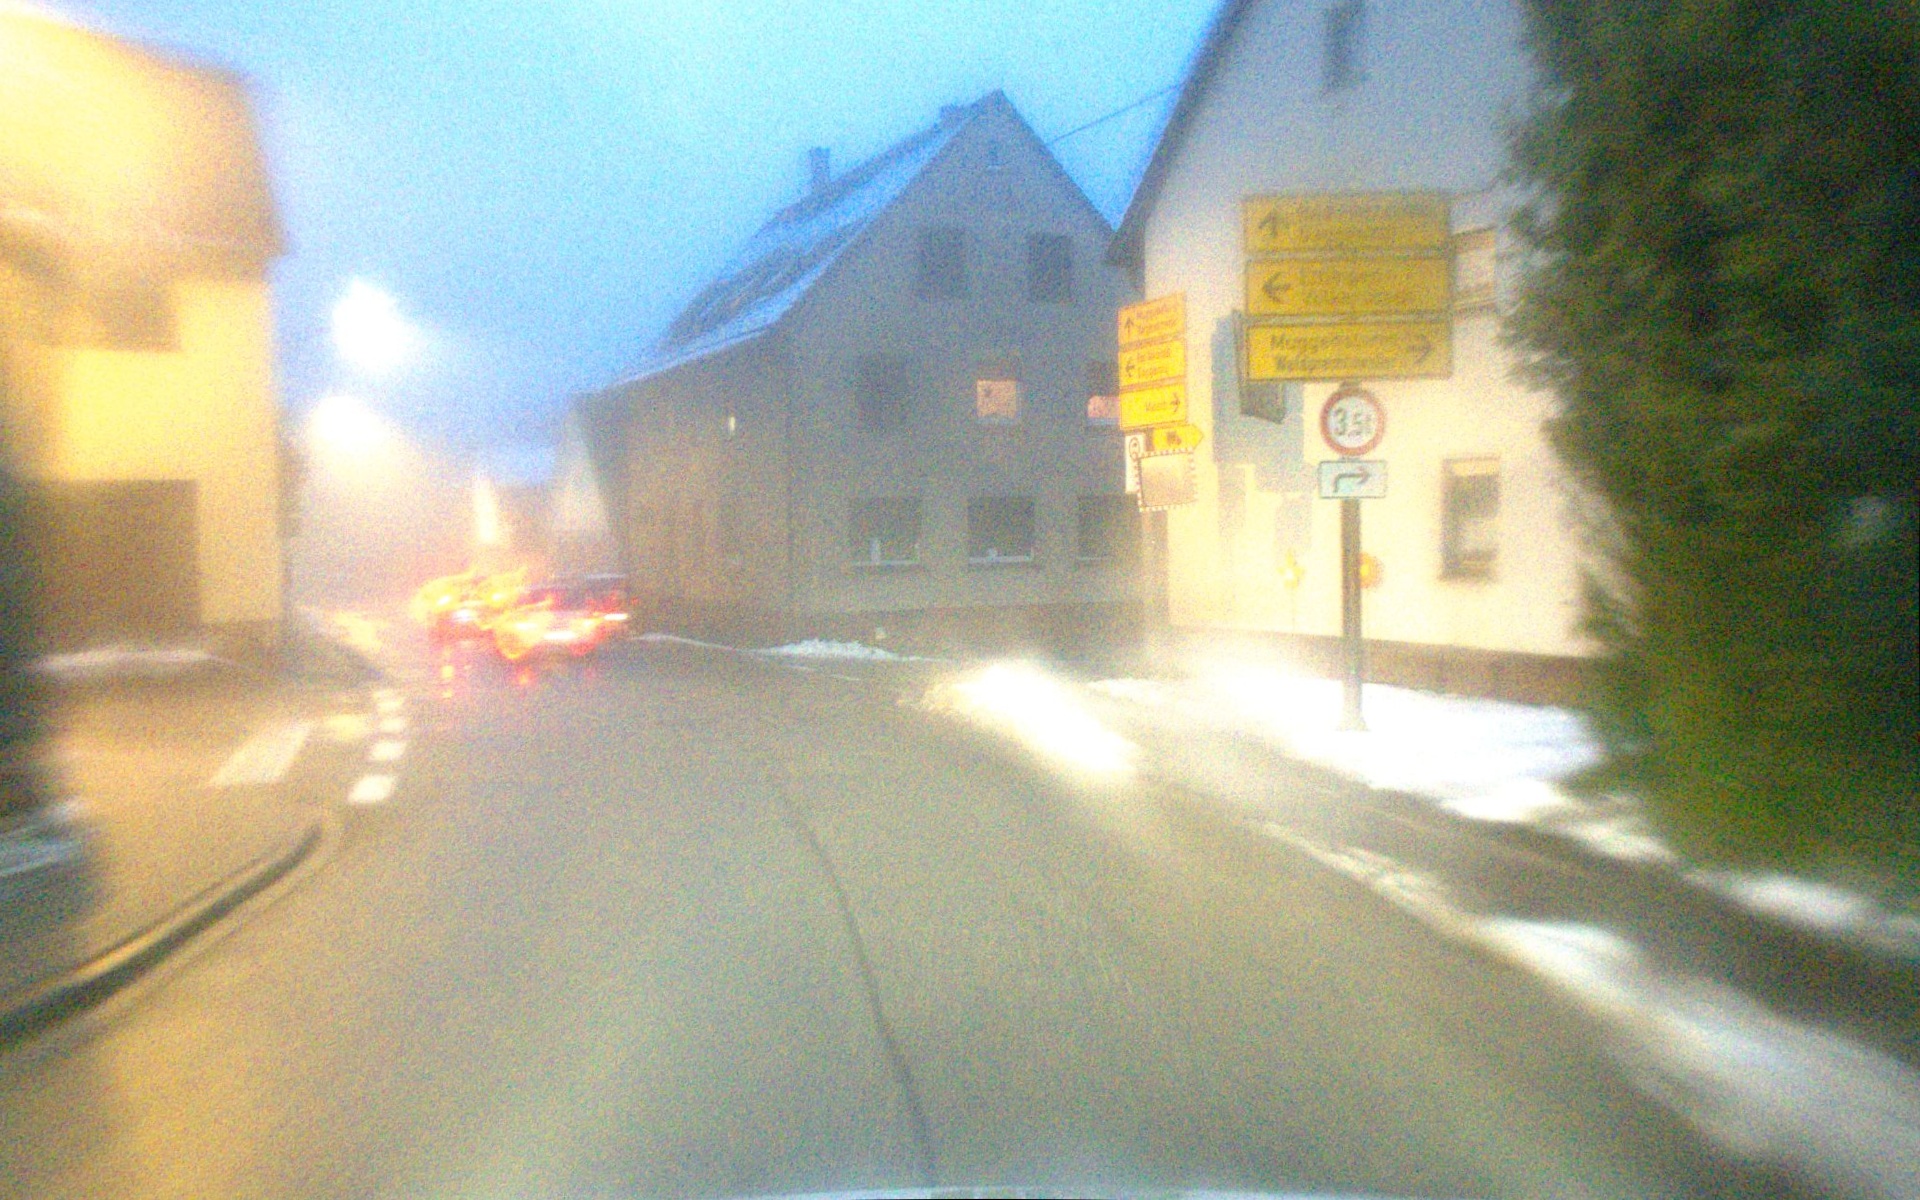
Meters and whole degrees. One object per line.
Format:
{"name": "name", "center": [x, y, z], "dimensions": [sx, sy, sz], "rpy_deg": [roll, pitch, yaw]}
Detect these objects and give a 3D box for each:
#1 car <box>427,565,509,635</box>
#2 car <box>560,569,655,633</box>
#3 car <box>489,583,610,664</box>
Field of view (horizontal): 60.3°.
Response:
{"name": "car", "center": [-12.964, 0.024, 43.499], "dimensions": [1.962, 1.758, 3.980], "rpy_deg": [1, -1, -18]}
{"name": "car", "center": [-8.886, 0.046, 41.466], "dimensions": [1.692, 1.526, 3.881], "rpy_deg": [1, -1, -22]}
{"name": "car", "center": [-8.361, 0.473, 33.449], "dimensions": [1.964, 1.534, 3.976], "rpy_deg": [1, -1, -20]}
